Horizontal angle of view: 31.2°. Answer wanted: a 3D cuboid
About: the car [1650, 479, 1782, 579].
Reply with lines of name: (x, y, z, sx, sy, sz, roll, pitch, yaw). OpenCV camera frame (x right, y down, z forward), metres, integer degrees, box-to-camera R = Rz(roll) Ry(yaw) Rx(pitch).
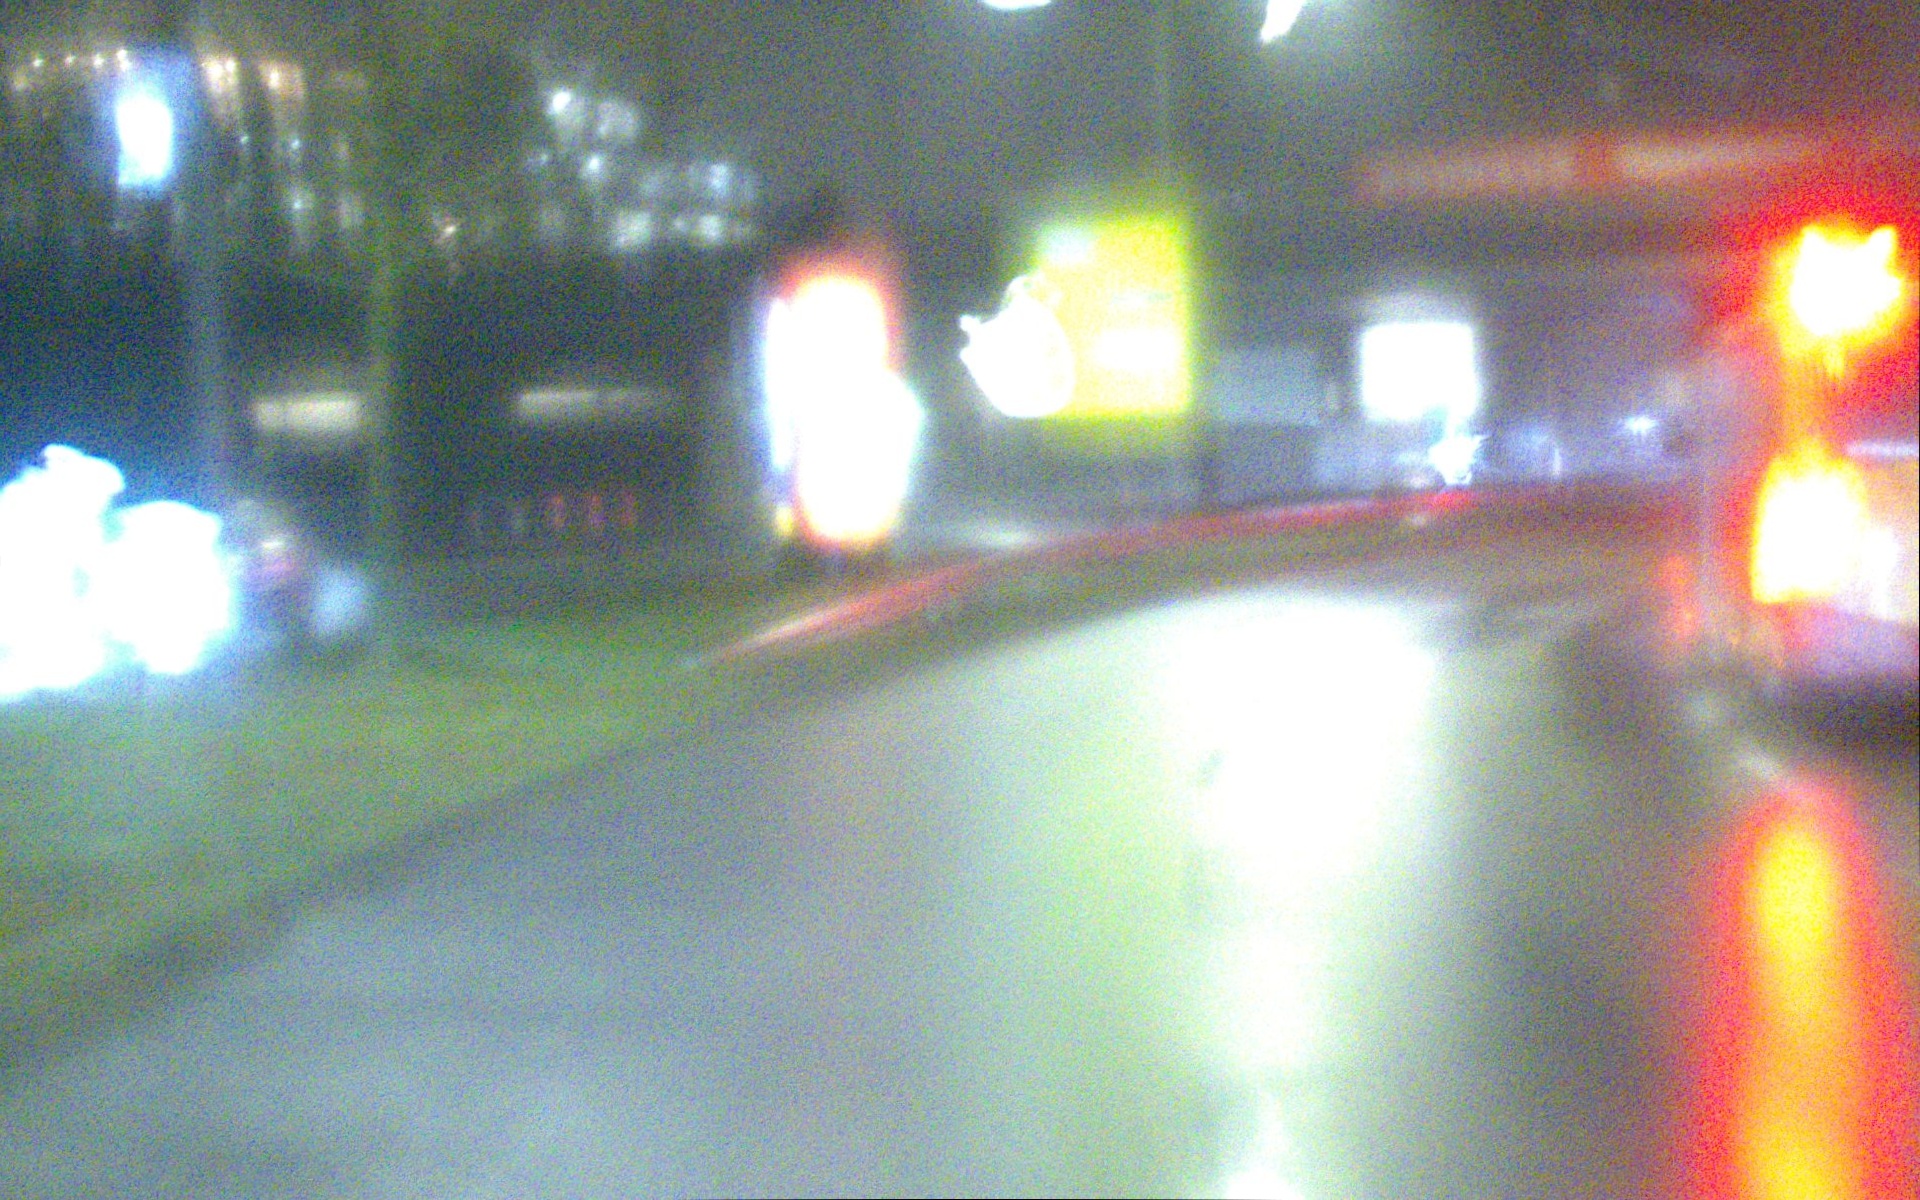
car: (13.641, -1.308, 61.900, 1.789, 1.678, 3.996, 1, 3, 20)

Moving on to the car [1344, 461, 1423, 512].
car: (12.133, -3.259, 98.382, 1.568, 1.422, 3.949, 1, 2, 17)

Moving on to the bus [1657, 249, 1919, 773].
bus: (6.881, -0.618, 25.441, 3.044, 3.201, 9.047, 0, 1, 9)

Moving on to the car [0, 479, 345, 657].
car: (-7.337, -0.335, 31.629, 1.867, 1.458, 4.638, -2, 1, 8)

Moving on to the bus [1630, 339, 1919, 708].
bus: (8.378, -0.735, 34.368, 3.044, 3.201, 9.047, 0, 1, 9)

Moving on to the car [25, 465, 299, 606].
car: (-9.485, -0.804, 41.195, 1.994, 1.588, 4.000, -1, 2, 6)
